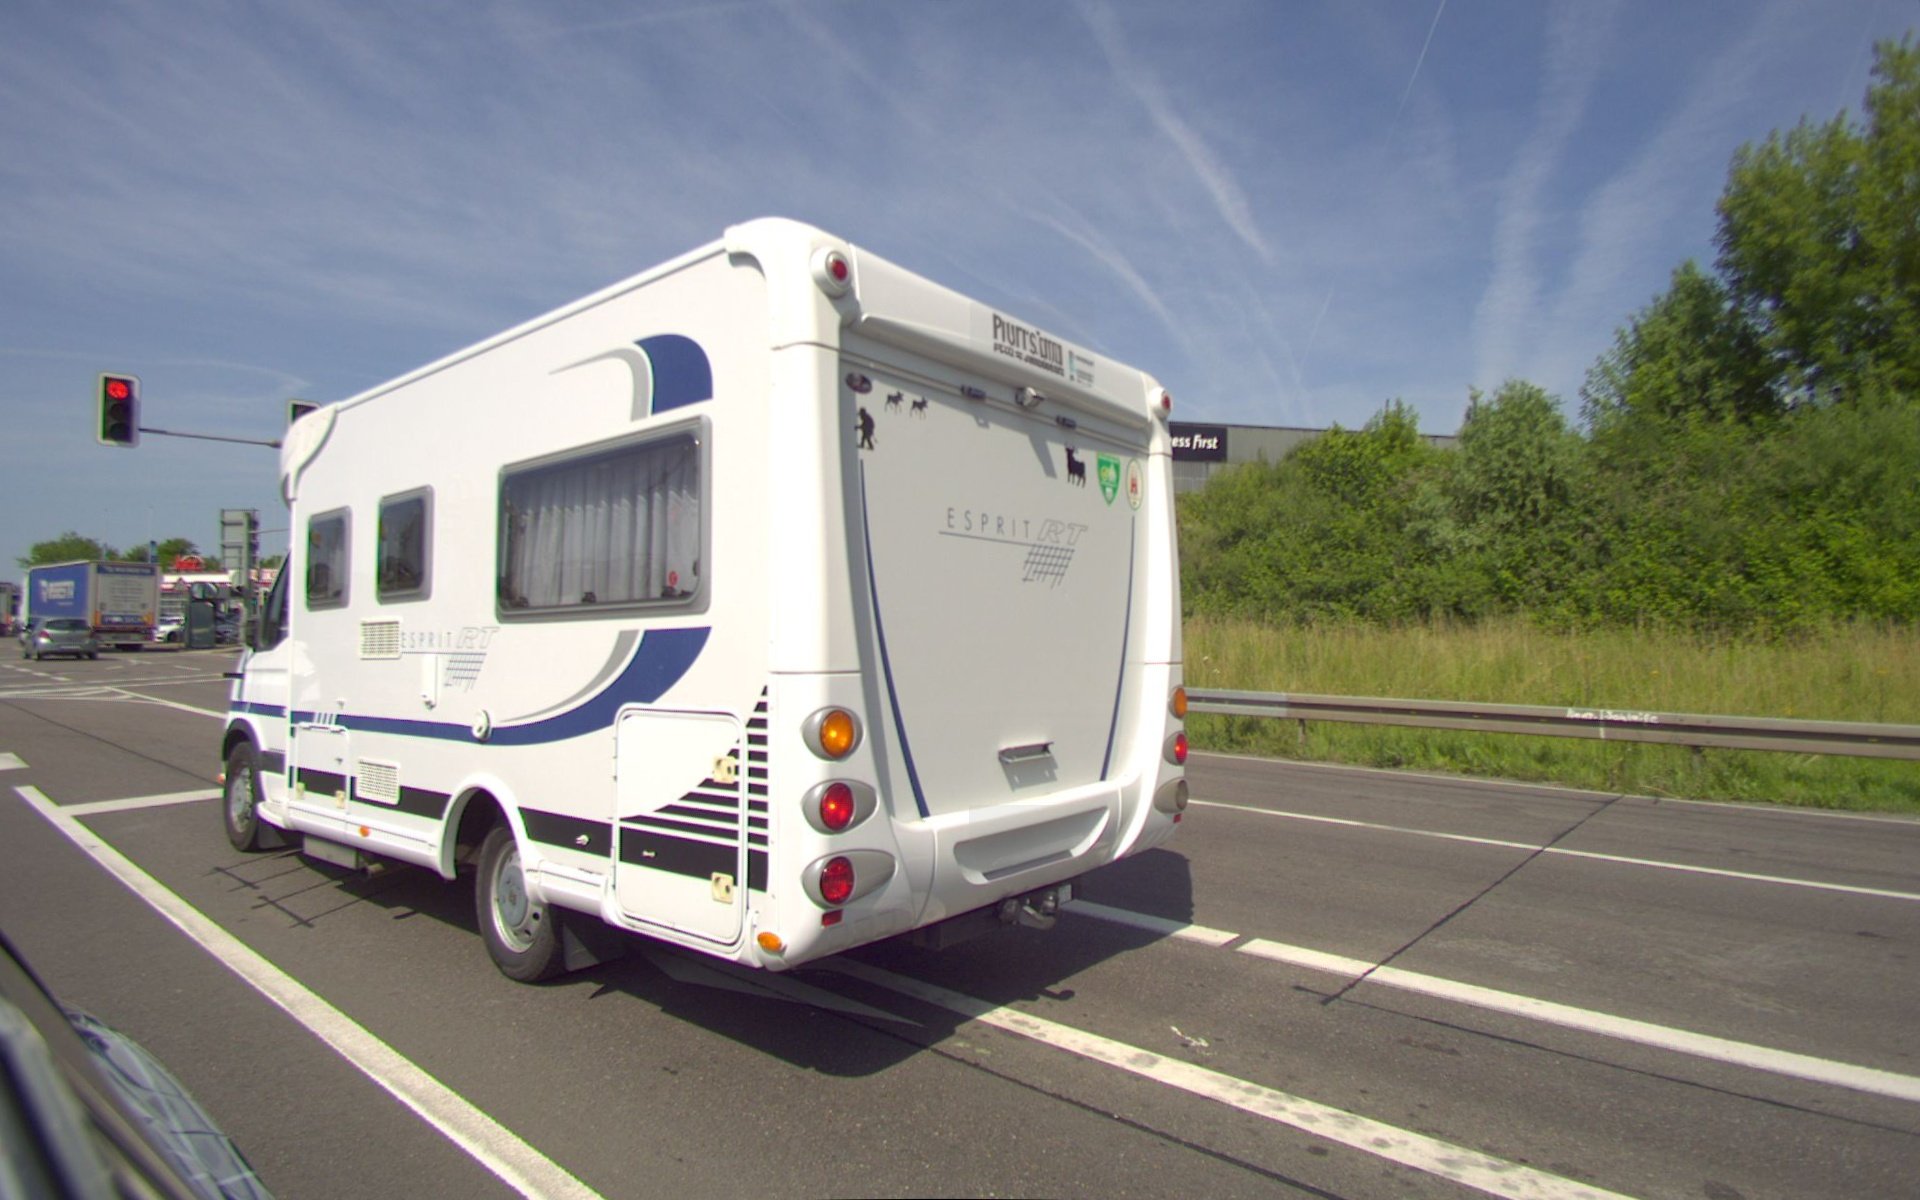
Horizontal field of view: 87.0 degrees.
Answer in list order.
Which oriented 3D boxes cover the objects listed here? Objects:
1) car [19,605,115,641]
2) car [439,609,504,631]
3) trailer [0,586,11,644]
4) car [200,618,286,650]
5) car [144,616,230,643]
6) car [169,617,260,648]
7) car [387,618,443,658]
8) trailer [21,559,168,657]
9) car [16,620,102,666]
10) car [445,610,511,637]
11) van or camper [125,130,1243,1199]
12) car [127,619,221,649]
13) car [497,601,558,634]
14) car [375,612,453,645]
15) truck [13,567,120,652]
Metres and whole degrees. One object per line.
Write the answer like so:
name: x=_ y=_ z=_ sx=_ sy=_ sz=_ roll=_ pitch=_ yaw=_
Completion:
car: x=-70.595 y=1.842 z=80.080 sx=2.177 sy=2.794 sz=5.504 roll=-1 pitch=-3 yaw=44
car: x=-37.339 y=1.539 z=77.463 sx=4.013 sy=1.574 sz=2.000 roll=1 pitch=0 yaw=0
trailer: x=-75.312 y=1.128 z=77.012 sx=13.865 sy=4.179 sz=2.665 roll=-1 pitch=-2 yaw=39
car: x=-42.800 y=1.970 z=60.566 sx=1.863 sy=1.638 sz=4.744 roll=-1 pitch=1 yaw=-1
car: x=-52.664 y=2.013 z=69.004 sx=4.405 sy=1.762 sz=1.893 roll=-1 pitch=-1 yaw=-1
car: x=-45.067 y=1.934 z=61.322 sx=1.905 sy=1.638 sz=4.796 roll=0 pitch=1 yaw=0
car: x=-24.304 y=1.668 z=45.234 sx=1.965 sy=1.689 sz=4.321 roll=2 pitch=-2 yaw=-25
trailer: x=-41.511 y=0.458 z=48.262 sx=14.117 sy=4.111 sz=3.061 roll=-1 pitch=-2 yaw=40
car: x=-31.558 y=1.469 z=35.411 sx=3.998 sy=1.513 sz=1.707 roll=-1 pitch=-3 yaw=41
car: x=-30.001 y=1.436 z=63.130 sx=1.921 sy=1.429 sz=4.977 roll=1 pitch=1 yaw=-2
van or camper: x=-2.216 y=0.210 z=5.587 sx=6.971 sy=2.620 sz=2.307 roll=-1 pitch=-2 yaw=39
car: x=-47.355 y=2.027 z=61.116 sx=1.929 sy=1.524 sz=4.714 roll=-1 pitch=1 yaw=2
car: x=-29.859 y=1.141 z=70.049 sx=2.038 sy=2.057 sz=5.518 roll=-1 pitch=1 yaw=-2
car: x=-29.588 y=1.525 z=54.984 sx=1.887 sy=1.539 sz=4.639 roll=-1 pitch=1 yaw=-2
truck: x=-46.242 y=0.555 z=52.335 sx=6.341 sy=4.111 sz=3.155 roll=-1 pitch=-2 yaw=40
